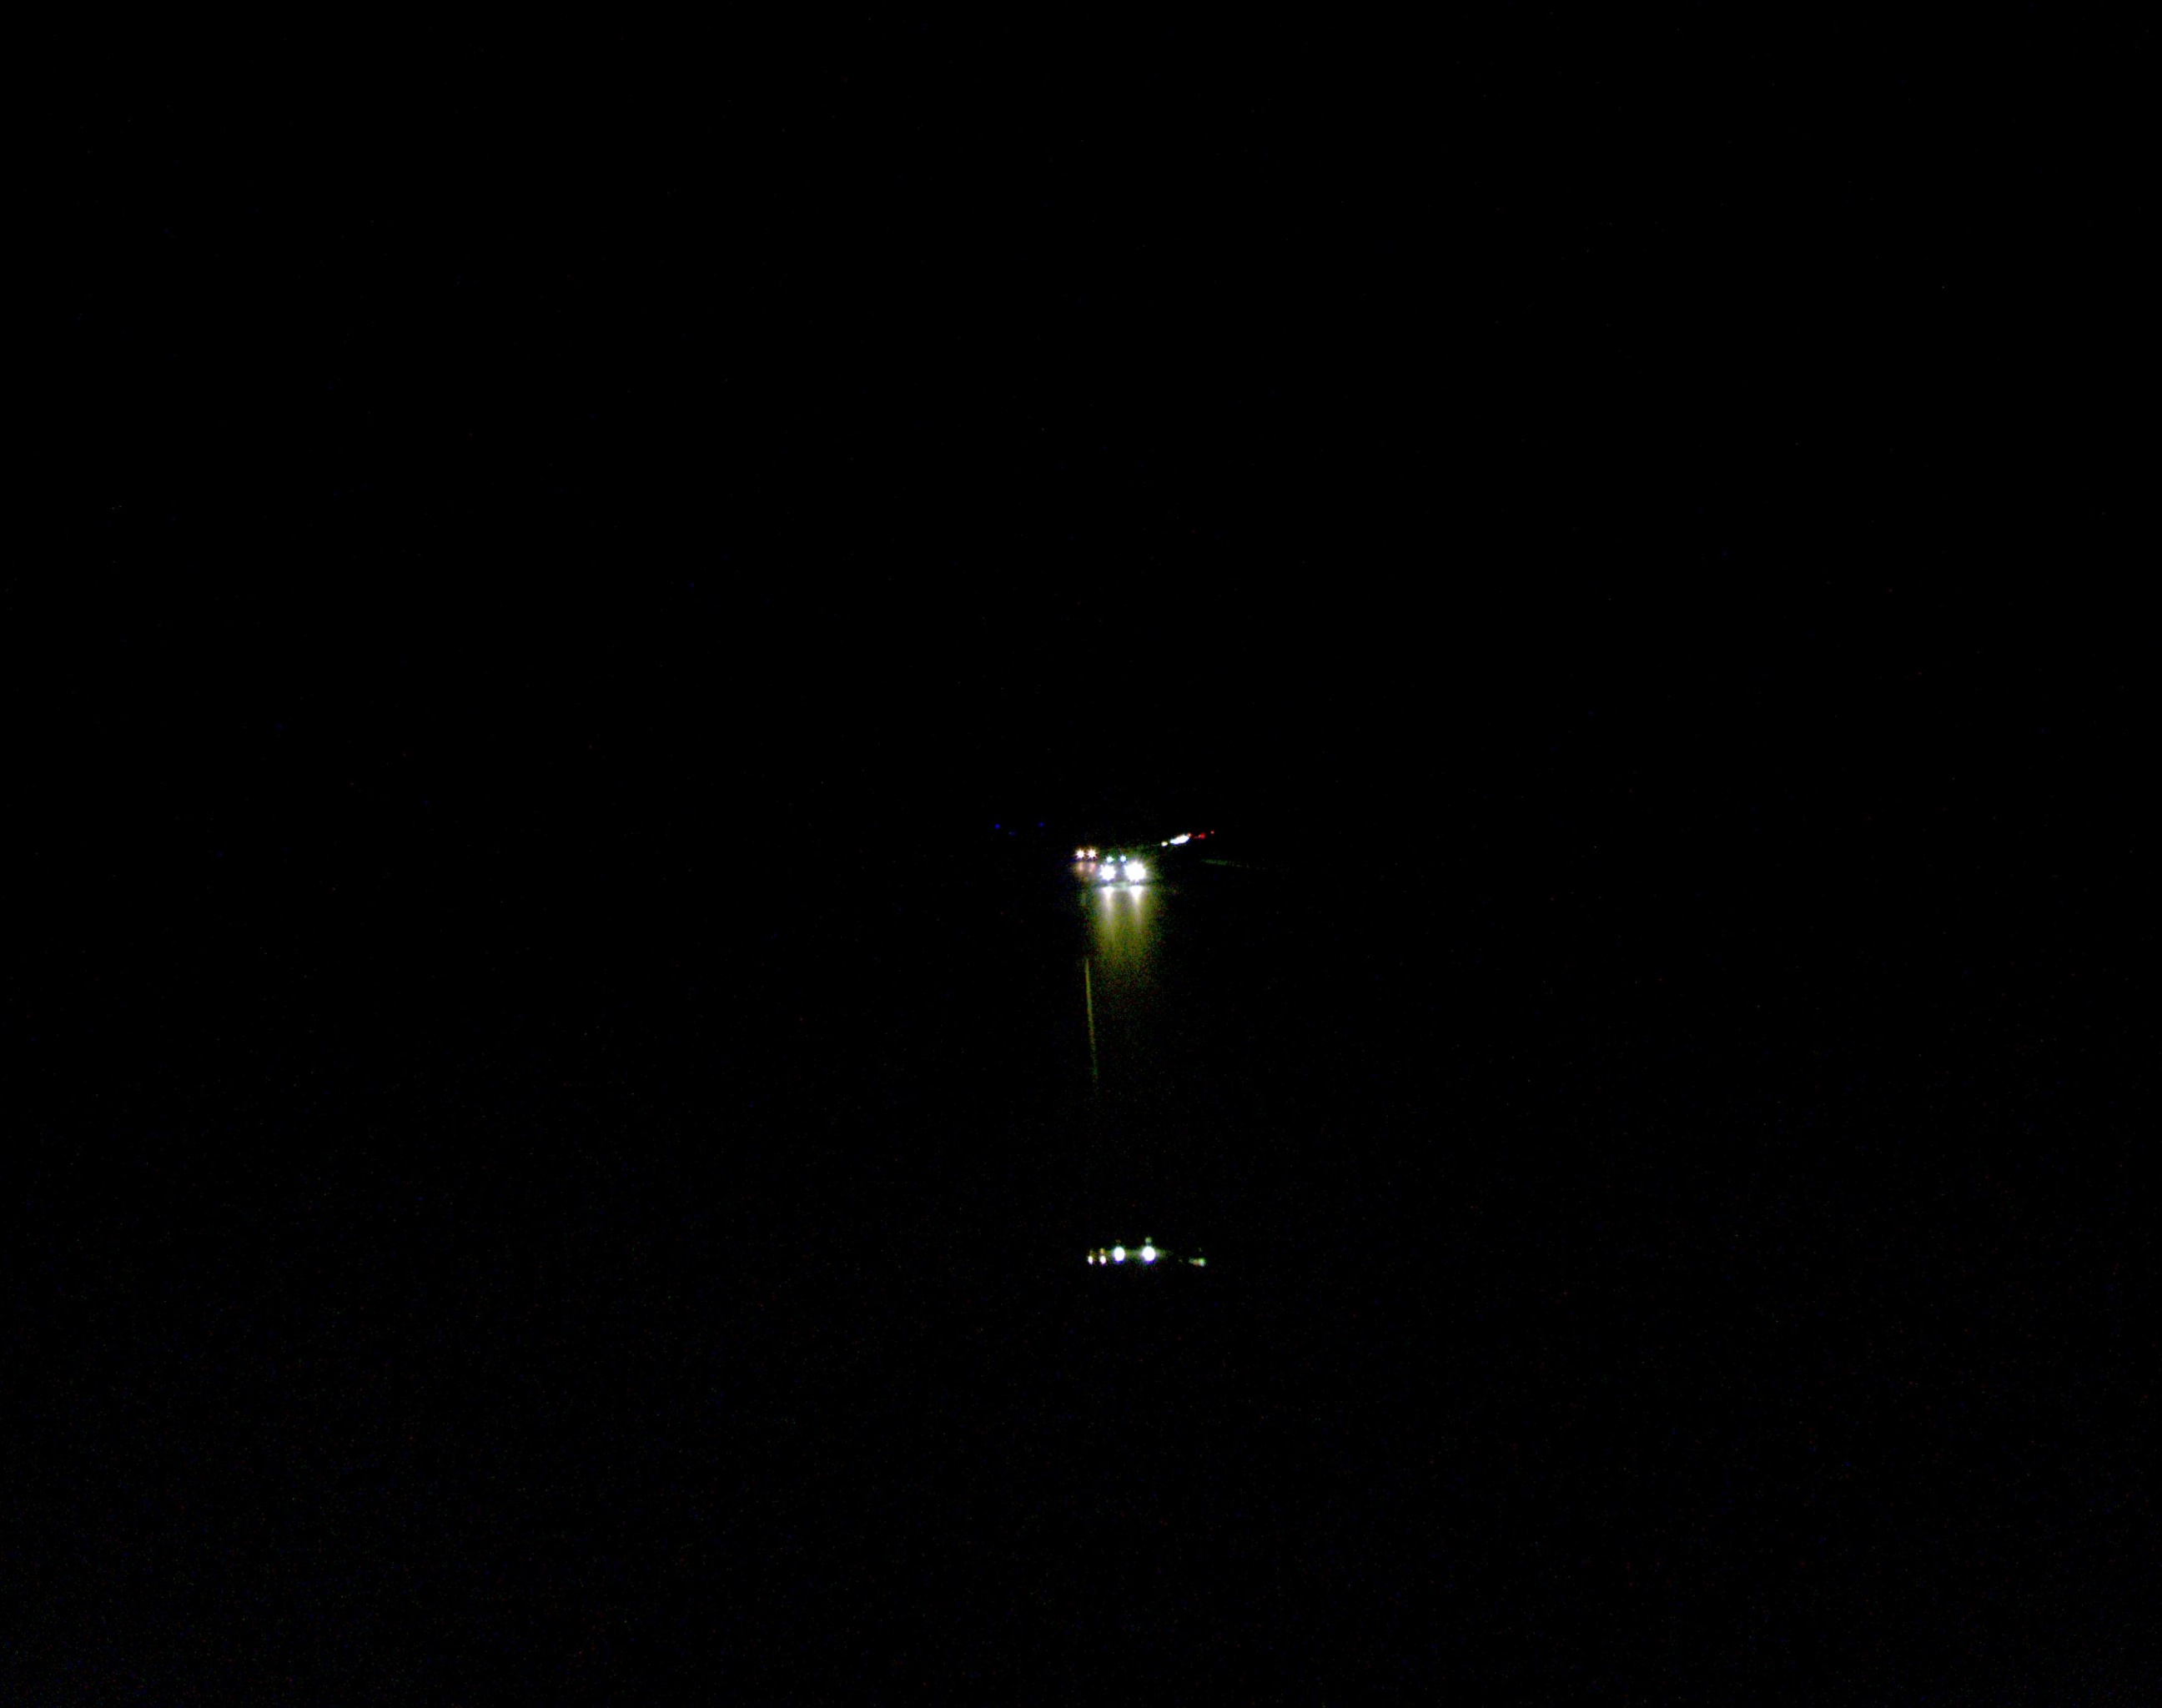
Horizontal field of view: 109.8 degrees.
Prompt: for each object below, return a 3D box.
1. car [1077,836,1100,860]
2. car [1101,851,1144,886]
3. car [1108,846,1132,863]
[{"bbox_3d":[1.057,-0.844,101.271,2.533,2.888,6.228,-3,1,5],"label":"car"},{"bbox_3d":[2.038,0.640,36.189,1.832,1.404,4.001,-3,1,6],"label":"car"},{"bbox_3d":[3.903,0.012,75.263,1.997,1.455,4.002,-3,1,8],"label":"car"}]
